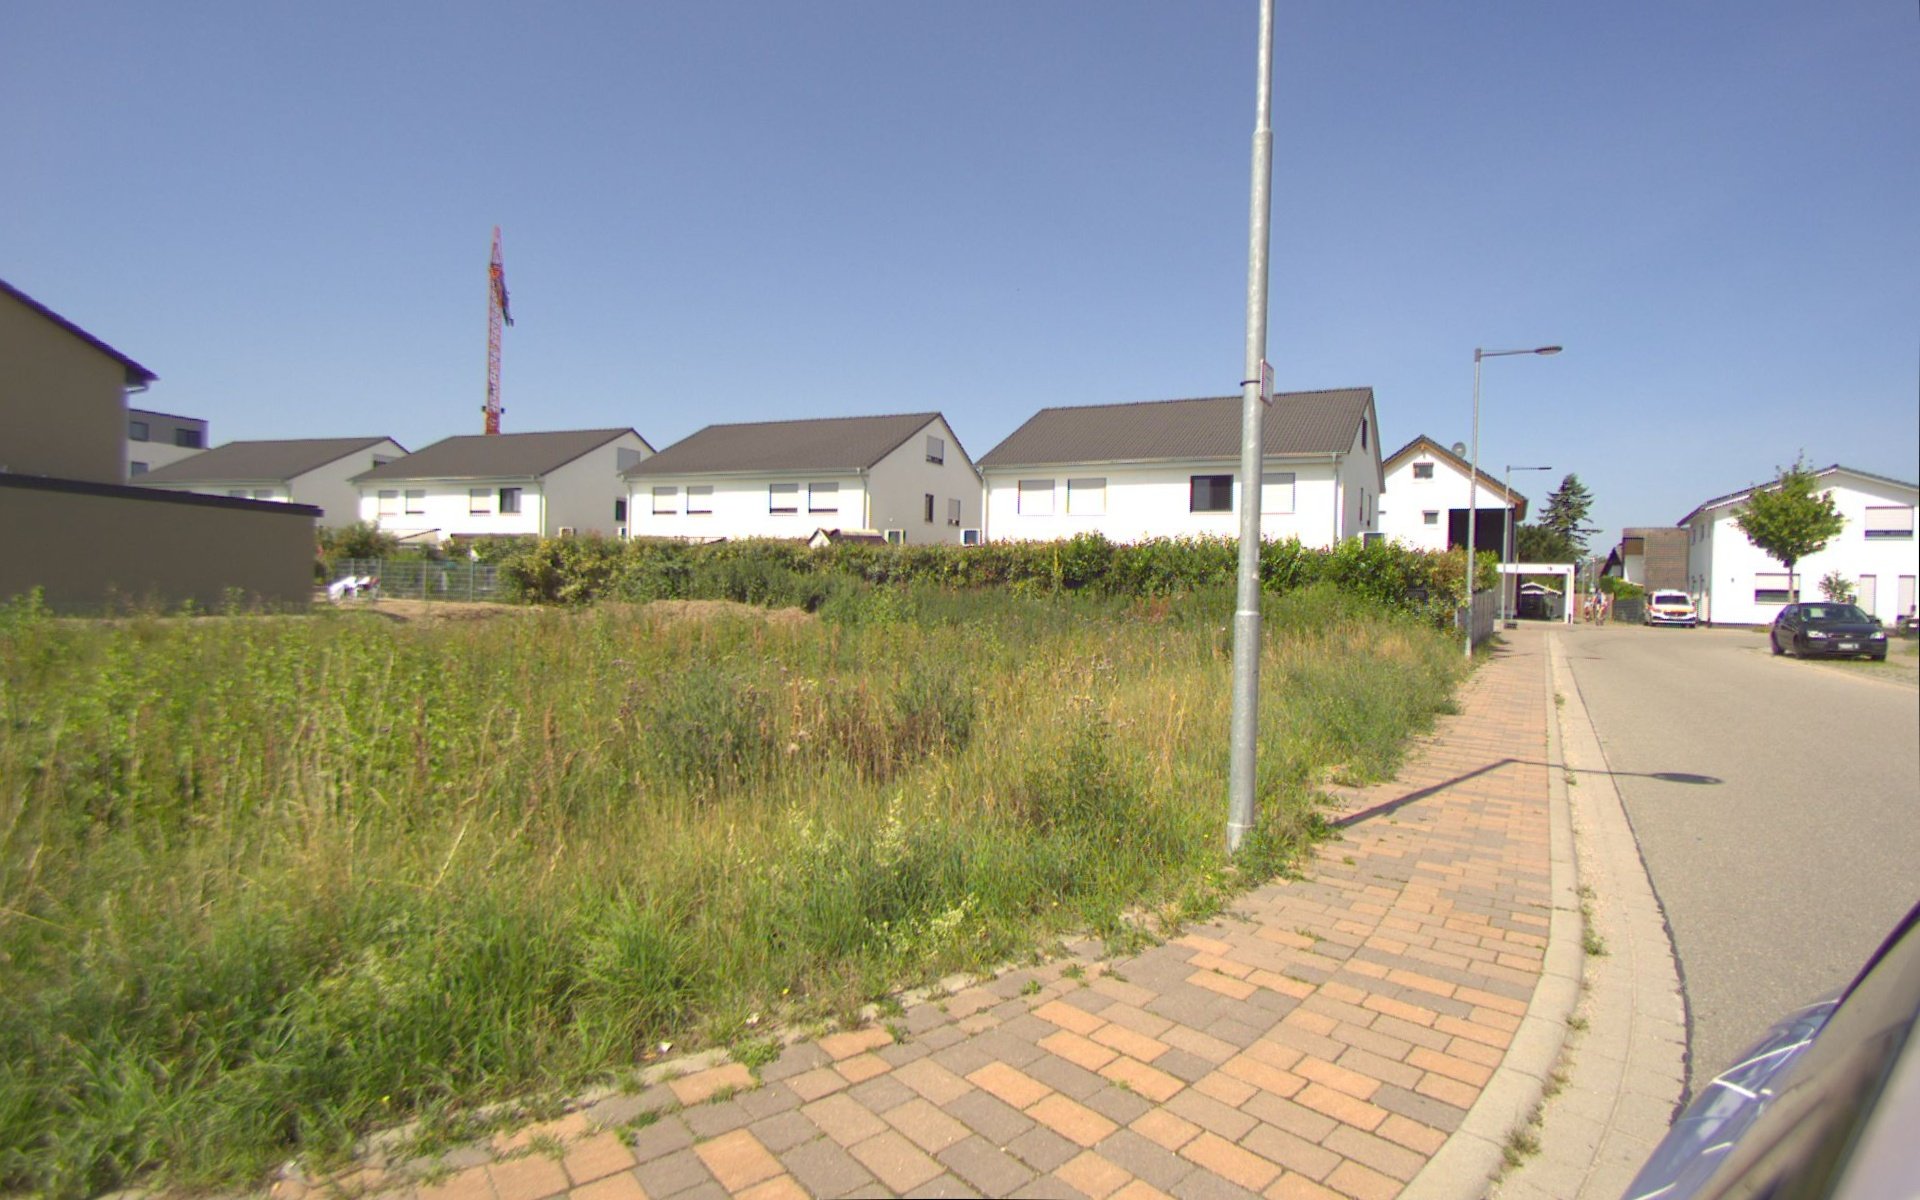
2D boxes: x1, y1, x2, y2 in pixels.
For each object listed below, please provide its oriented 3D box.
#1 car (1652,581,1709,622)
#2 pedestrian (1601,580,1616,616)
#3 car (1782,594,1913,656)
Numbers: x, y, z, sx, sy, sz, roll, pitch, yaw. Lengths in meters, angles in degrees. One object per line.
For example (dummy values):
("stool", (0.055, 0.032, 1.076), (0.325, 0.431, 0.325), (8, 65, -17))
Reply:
("car", (35.286, 0.073, 49.670), (1.842, 1.909, 4.510), (0, 0, 30))
("pedestrian", (31.408, -0.095, 49.016), (0.547, 1.741, 0.809), (2, 1, 34))
("car", (23.081, 0.592, 26.496), (1.803, 1.472, 4.099), (0, 0, 30))
